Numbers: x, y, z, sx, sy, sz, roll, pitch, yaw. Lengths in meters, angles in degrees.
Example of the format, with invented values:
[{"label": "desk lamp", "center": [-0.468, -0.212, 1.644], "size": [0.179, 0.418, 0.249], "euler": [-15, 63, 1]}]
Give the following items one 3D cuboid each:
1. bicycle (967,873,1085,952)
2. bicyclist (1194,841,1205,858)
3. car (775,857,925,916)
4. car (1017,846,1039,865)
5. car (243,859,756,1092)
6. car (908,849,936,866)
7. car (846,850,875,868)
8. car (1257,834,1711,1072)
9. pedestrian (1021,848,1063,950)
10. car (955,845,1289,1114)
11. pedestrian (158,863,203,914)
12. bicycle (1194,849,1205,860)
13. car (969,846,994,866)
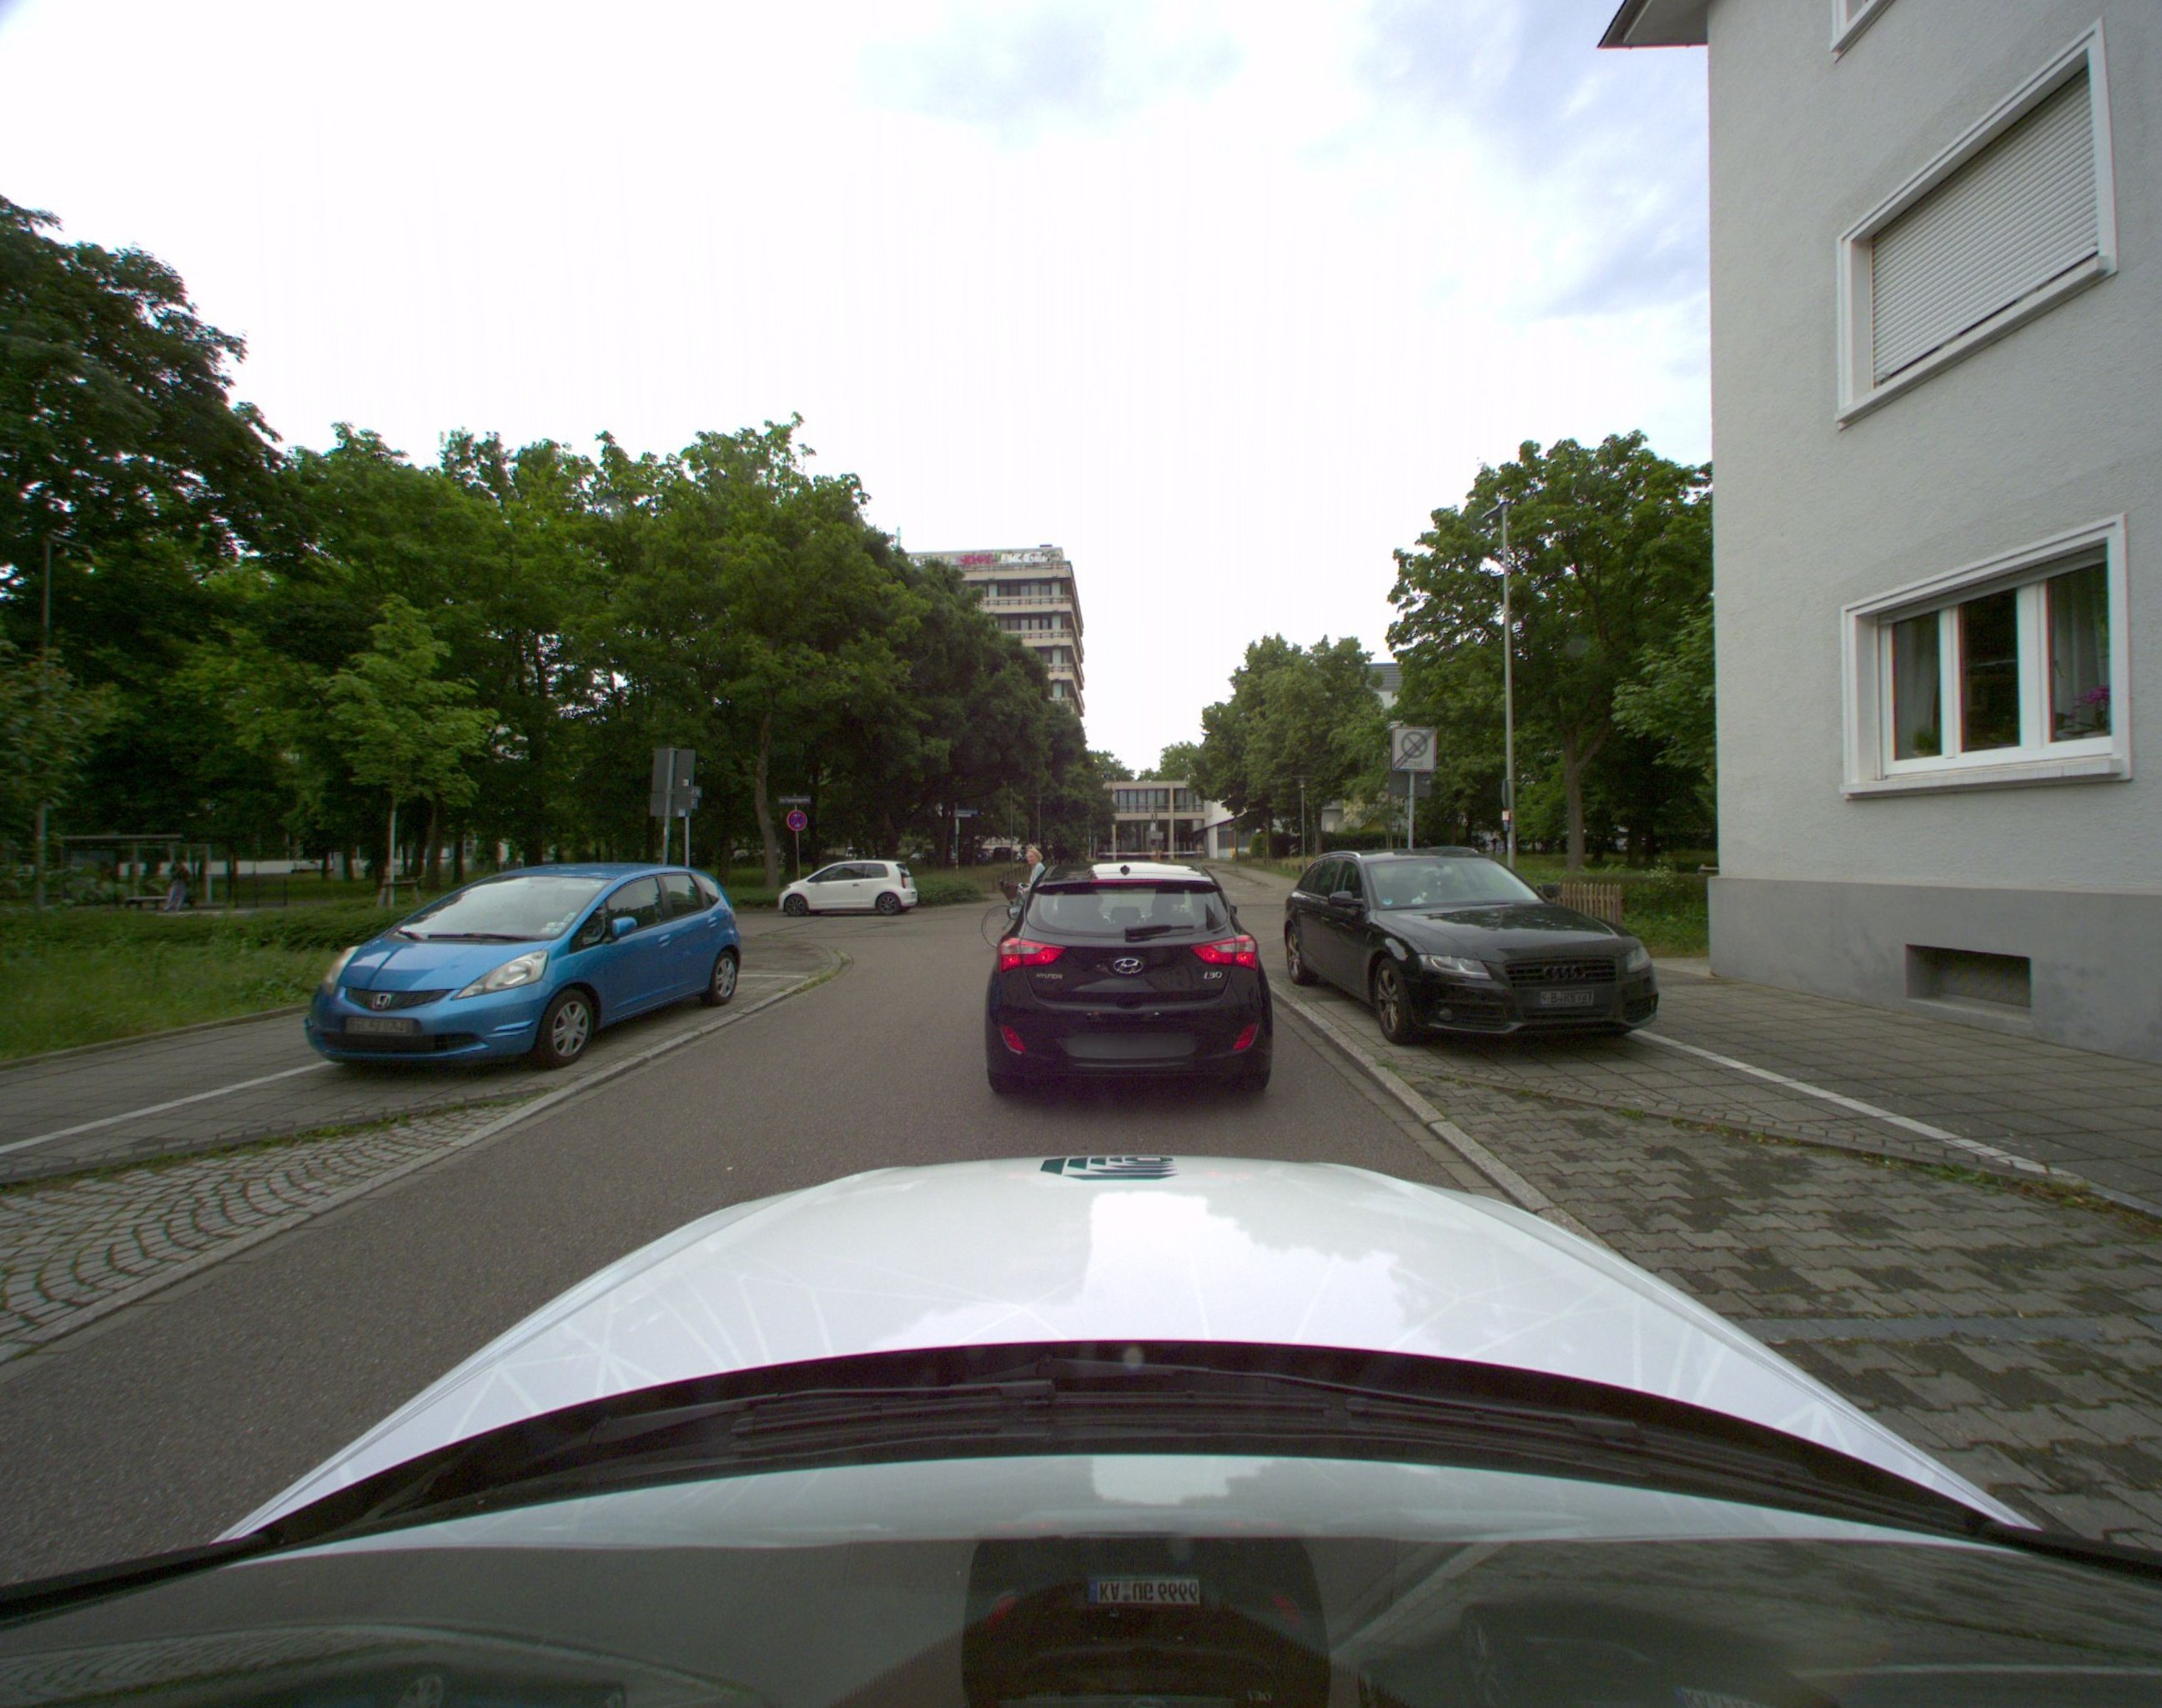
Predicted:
[{"label": "bicycle", "center": [-0.895, 0.930, 13.143], "size": [1.810, 1.119, 0.537], "euler": [-3, 0, -7]}, {"label": "bicyclist", "center": [11.468, -0.436, 78.857], "size": [1.013, 1.644, 0.924], "euler": [-1, 0, 3]}, {"label": "car", "center": [-6.115, 0.831, 21.800], "size": [3.521, 1.437, 1.567], "euler": [-1, 0, -1]}, {"label": "car", "center": [-5.126, 0.181, 79.550], "size": [1.988, 1.762, 3.997], "euler": [-1, -1, -2]}, {"label": "car", "center": [-4.667, 0.822, 7.410], "size": [1.724, 1.462, 3.958], "euler": [1, 0, 1]}, {"label": "car", "center": [-15.522, 0.309, 79.600], "size": [1.988, 1.618, 3.997], "euler": [-1, 0, -2]}, {"label": "car", "center": [-21.682, 0.484, 80.280], "size": [1.913, 1.618, 3.997], "euler": [-1, 0, -2]}, {"label": "car", "center": [3.099, 0.621, 7.583], "size": [1.854, 1.462, 4.725], "euler": [-2, 0, 0]}, {"label": "pedestrian", "center": [-0.611, 0.698, 12.807], "size": [0.565, 1.549, 0.447], "euler": [-3, 0, -5]}, {"label": "car", "center": [0.224, 0.700, 6.435], "size": [1.840, 1.462, 3.826], "euler": [-1, 0, 0]}, {"label": "pedestrian", "center": [-29.060, 1.112, 26.290], "size": [0.693, 1.583, 0.656], "euler": [-1, 1, 3]}, {"label": "bicycle", "center": [11.491, 0.046, 78.831], "size": [0.863, 1.074, 2.143], "euler": [-1, 1, 3]}, {"label": "car", "center": [-9.709, 0.237, 79.716], "size": [1.988, 1.794, 3.996], "euler": [-1, -2, -2]}]
